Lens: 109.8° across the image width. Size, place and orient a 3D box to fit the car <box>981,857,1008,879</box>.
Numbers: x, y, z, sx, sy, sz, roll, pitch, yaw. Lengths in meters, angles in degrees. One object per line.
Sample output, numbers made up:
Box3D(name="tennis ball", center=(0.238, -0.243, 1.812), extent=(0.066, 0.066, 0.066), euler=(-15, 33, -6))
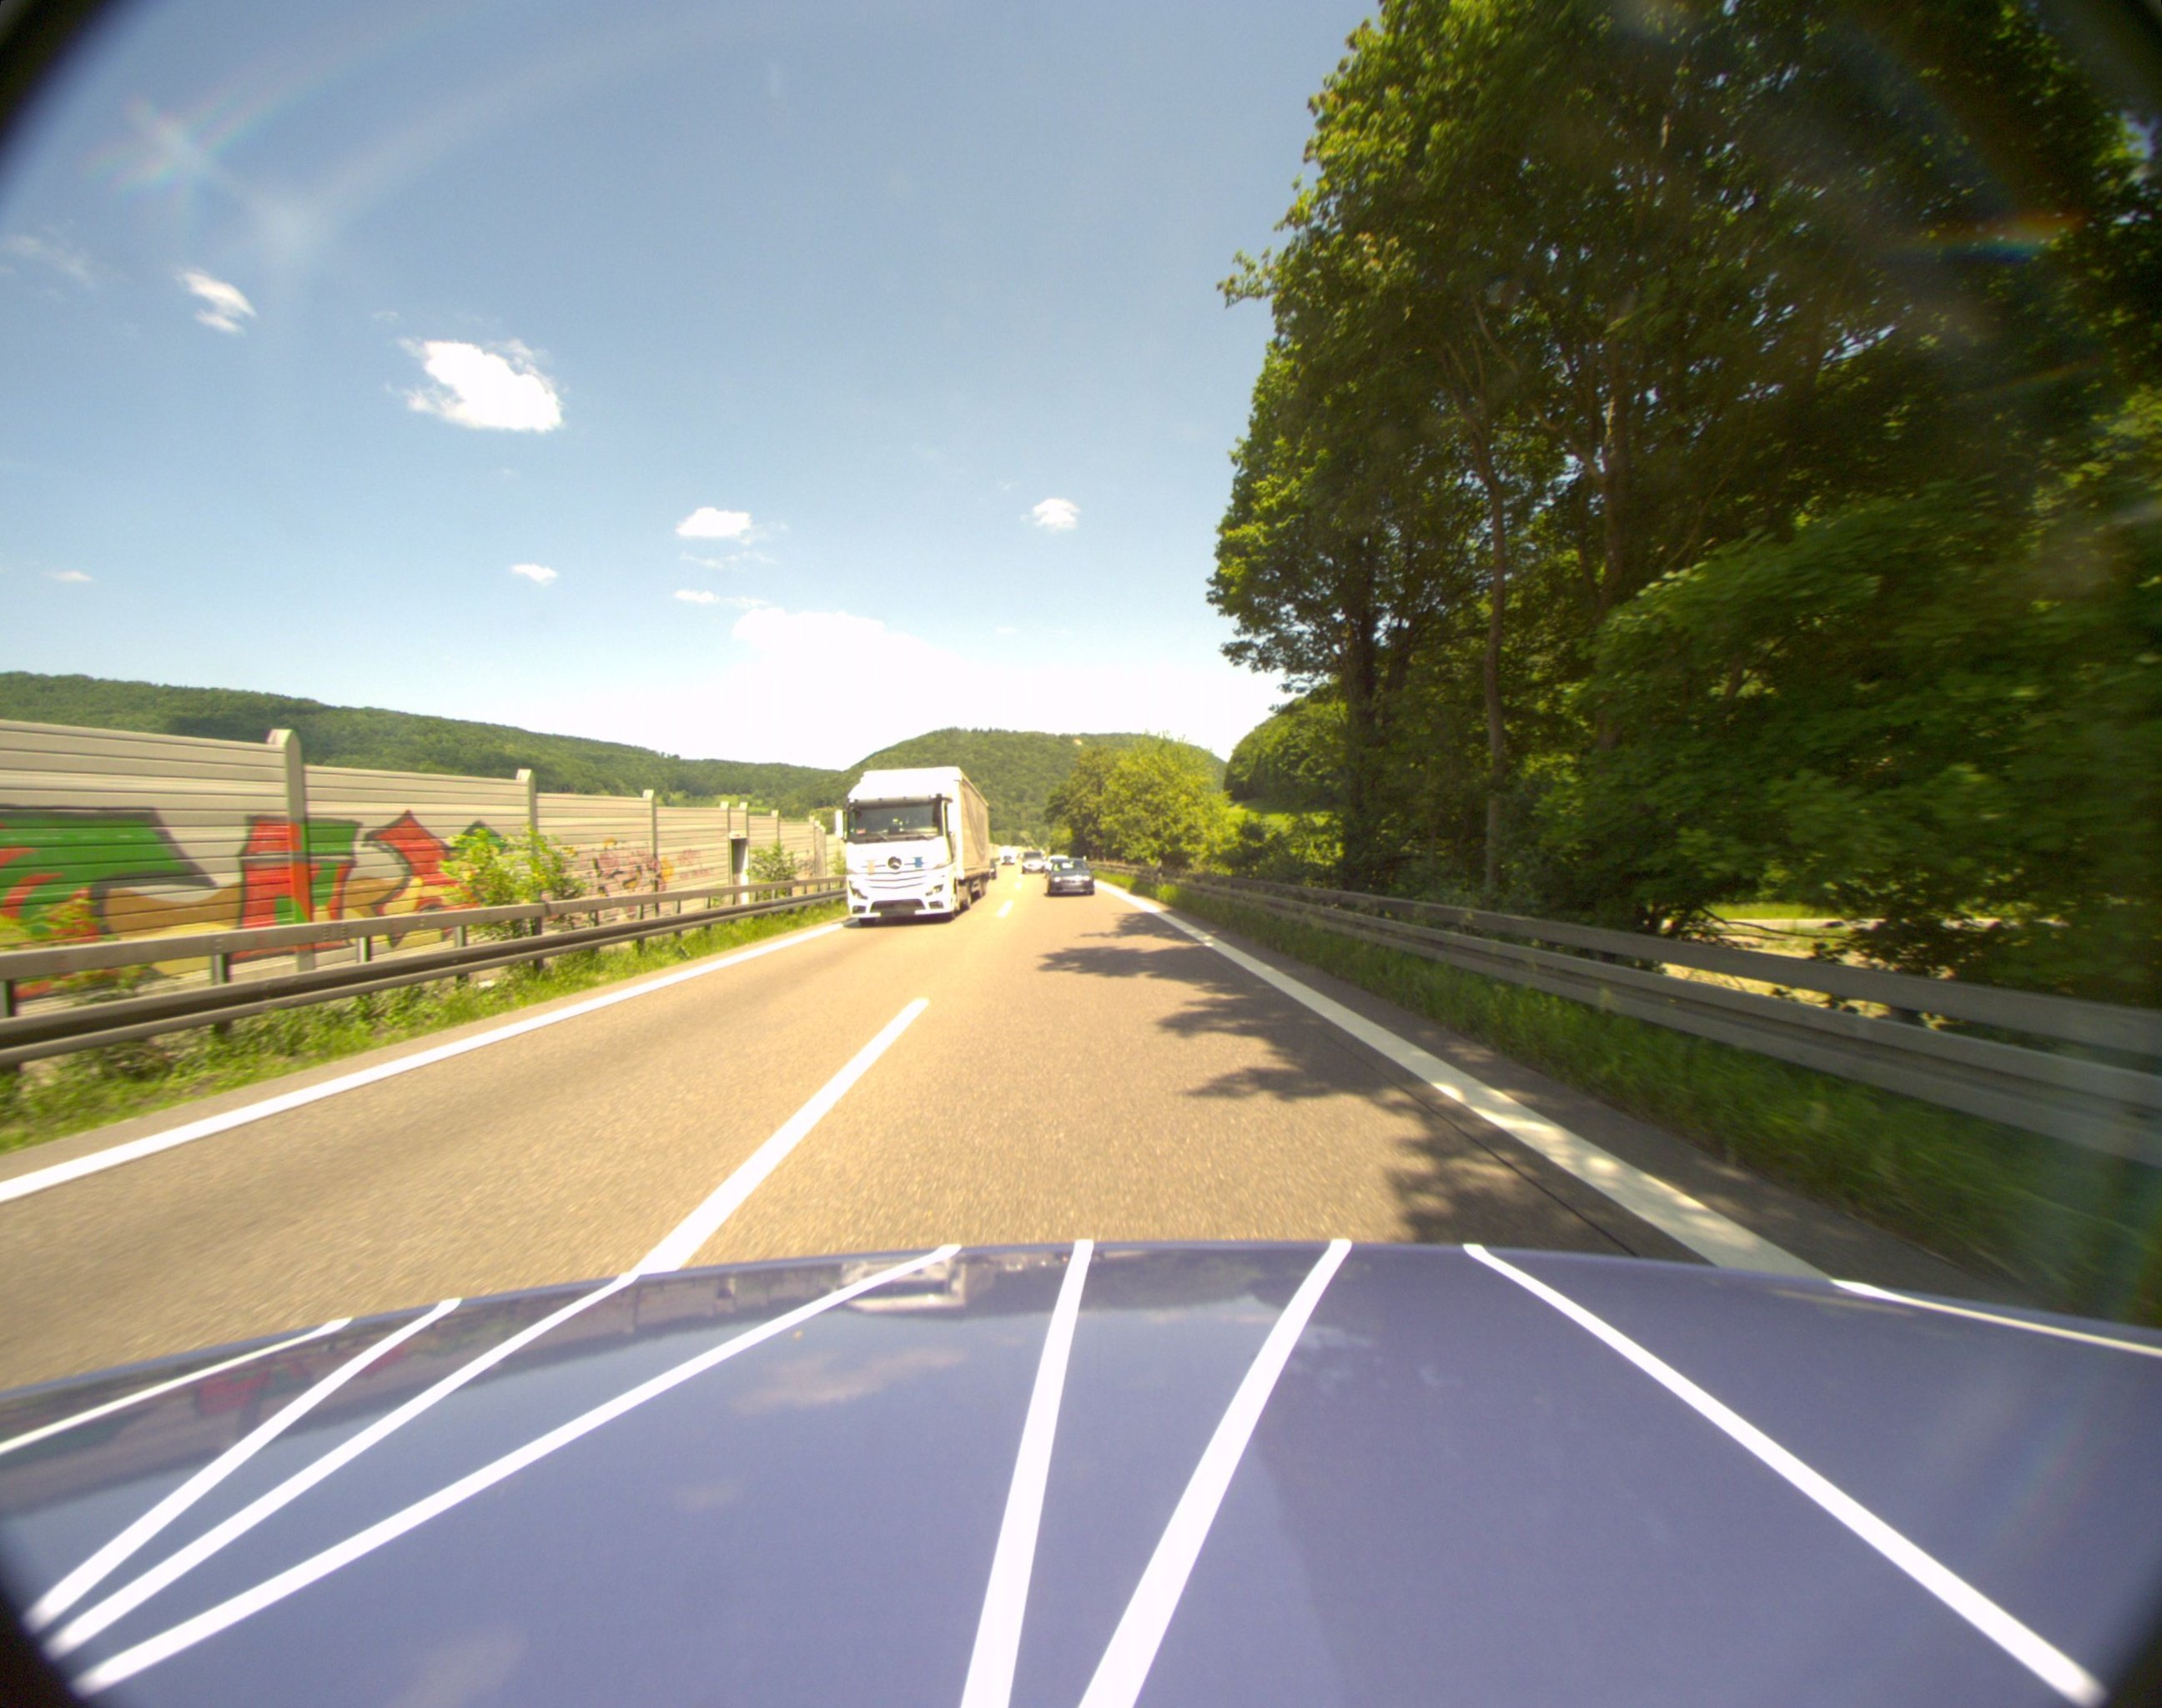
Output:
Box3D(name="car", center=(-5.958, 0.924, 52.588), extent=(1.663, 1.405, 3.473), euler=(0, 1, -4))

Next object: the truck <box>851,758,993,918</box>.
Box3D(name="truck", center=(-4.923, -0.458, 26.231), extent=(2.862, 4.124, 12.042), euler=(-2, 0, -3))

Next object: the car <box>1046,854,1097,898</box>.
Box3D(name="car", center=(-0.416, 0.790, 28.894), extent=(1.663, 1.436, 3.473), euler=(-3, 1, -4))

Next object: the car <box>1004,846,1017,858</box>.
Box3D(name="car", center=(-11.546, -0.260, 125.165), extent=(1.999, 1.892, 3.999), euler=(1, 0, -4))

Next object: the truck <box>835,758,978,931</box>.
Box3D(name="truck", center=(-4.581, -0.287, 21.377), extent=(2.765, 4.016, 6.819), euler=(-2, 1, -4))

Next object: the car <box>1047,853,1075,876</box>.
Box3D(name="car", center=(-1.448, 0.696, 52.763), extent=(1.716, 1.541, 3.998), euler=(0, 1, -5))

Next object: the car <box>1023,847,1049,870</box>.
Box3D(name="car", center=(-3.849, 0.397, 64.994), extent=(2.044, 1.855, 3.998), euler=(0, 0, -6))
